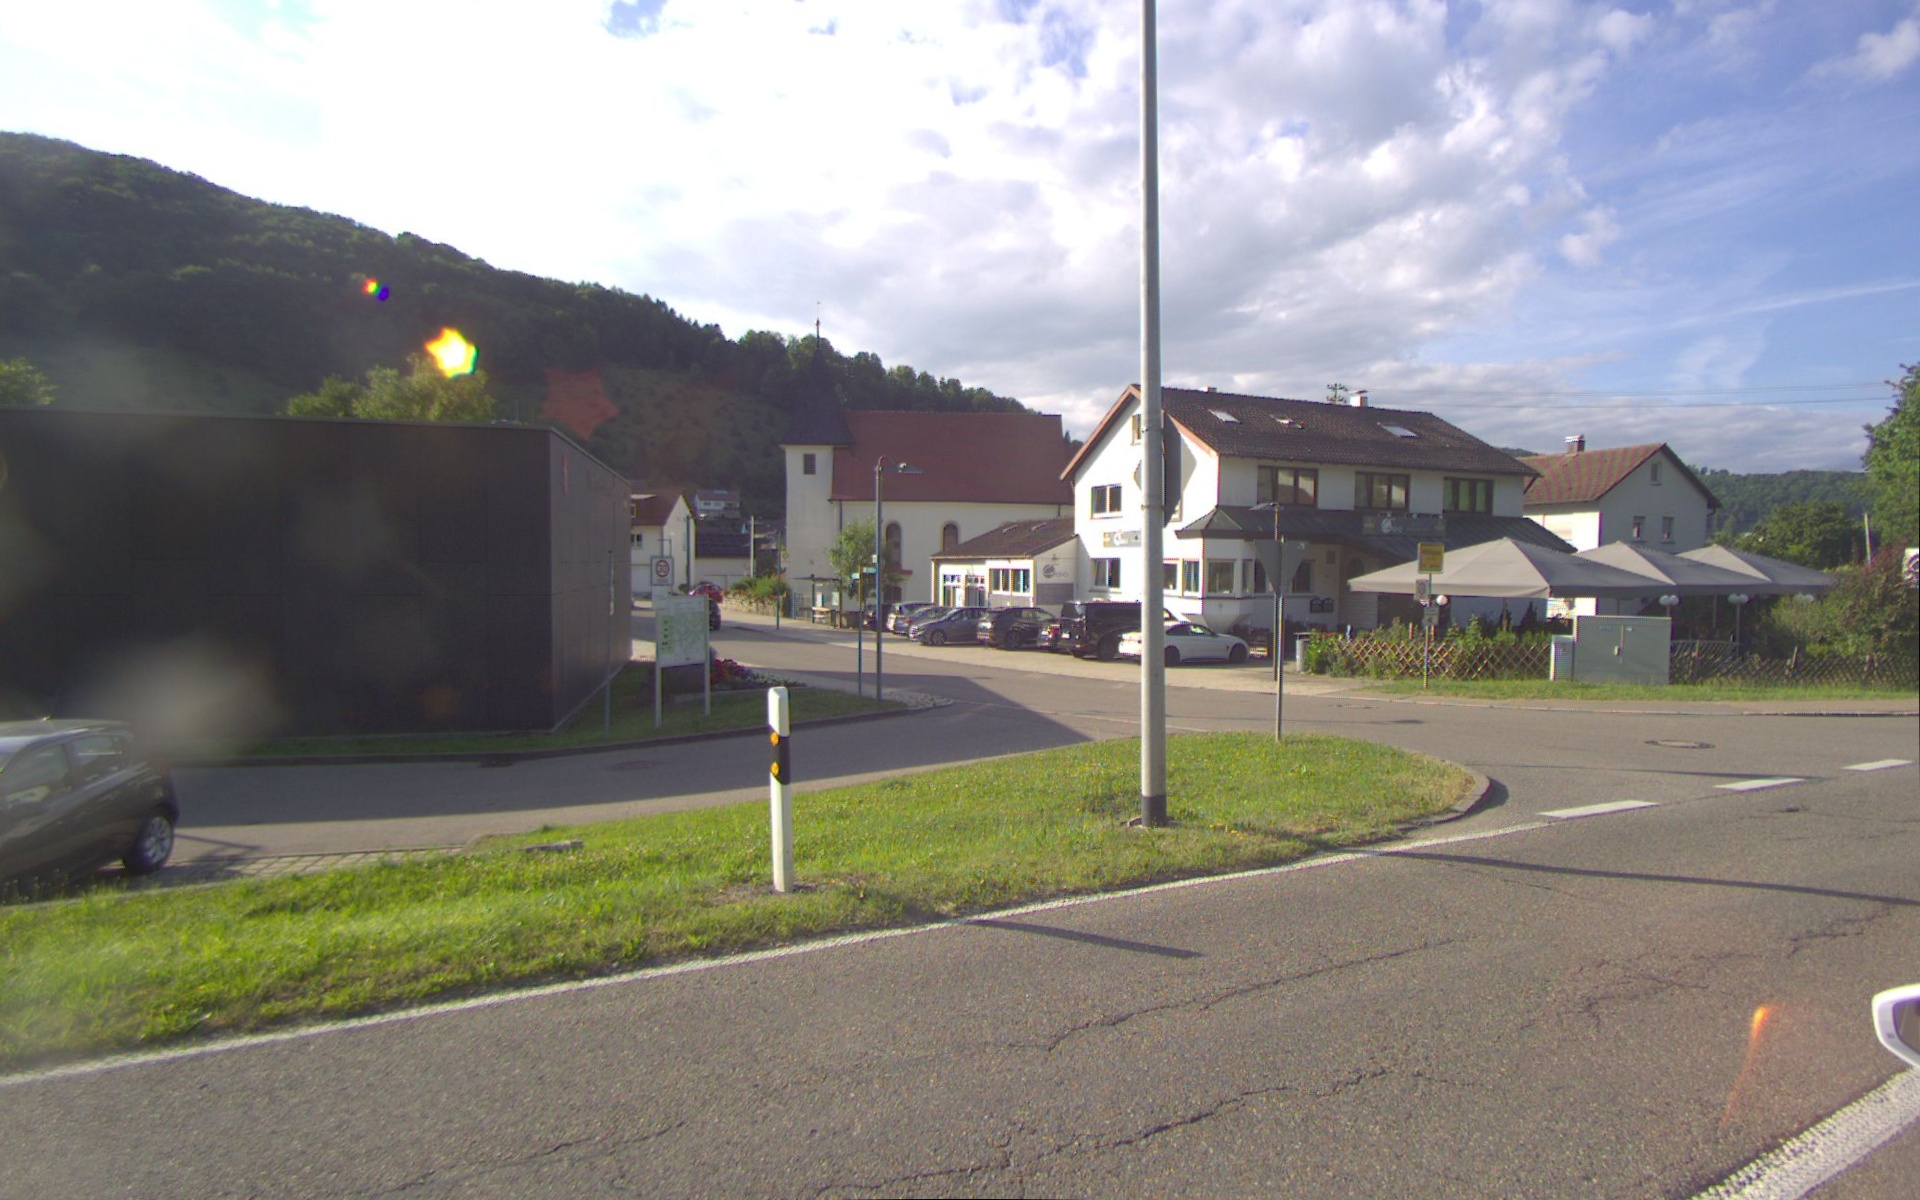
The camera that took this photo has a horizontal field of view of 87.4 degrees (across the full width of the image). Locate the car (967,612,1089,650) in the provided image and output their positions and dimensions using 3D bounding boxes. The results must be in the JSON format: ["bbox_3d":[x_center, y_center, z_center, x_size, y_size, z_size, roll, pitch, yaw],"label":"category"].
[{"bbox_3d":[2.747,1.222,40.297,4.518,1.431,1.986,1,-1,-27],"label":"car"}]

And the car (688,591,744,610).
[{"bbox_3d":[-19.653,0.052,81.020,1.972,1.528,3.977,1,0,43],"label":"car"}]

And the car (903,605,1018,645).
[{"bbox_3d":[0.029,1.043,42.439,4.518,1.618,1.986,1,-1,-27],"label":"car"}]

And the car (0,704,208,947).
[{"bbox_3d":[-8.152,1.799,8.083,1.801,1.555,3.991,1,-1,-12],"label":"car"}]

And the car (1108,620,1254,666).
[{"bbox_3d":[7.290,1.389,33.087,4.518,1.408,1.986,1,-1,-27],"label":"car"}]

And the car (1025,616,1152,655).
[{"bbox_3d":[4.926,1.343,38.401,4.518,1.408,1.986,1,-1,-27],"label":"car"}]

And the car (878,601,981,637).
[{"bbox_3d":[-1.456,0.918,48.199,4.518,1.665,1.986,1,-1,-27],"label":"car"}]

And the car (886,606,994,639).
[{"bbox_3d":[-0.912,1.036,45.601,4.518,1.431,1.986,1,-1,-27],"label":"car"}]

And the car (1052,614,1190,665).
[{"bbox_3d":[5.672,1.351,35.251,4.518,1.707,1.986,1,-1,-27],"label":"car"}]

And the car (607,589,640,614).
[{"bbox_3d":[-23.331,0.134,69.598,1.760,1.706,3.976,1,-1,-25],"label":"car"}]

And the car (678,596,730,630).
[{"bbox_3d":[-13.434,0.677,52.528,1.867,1.706,3.974,0,0,-26],"label":"car"}]
